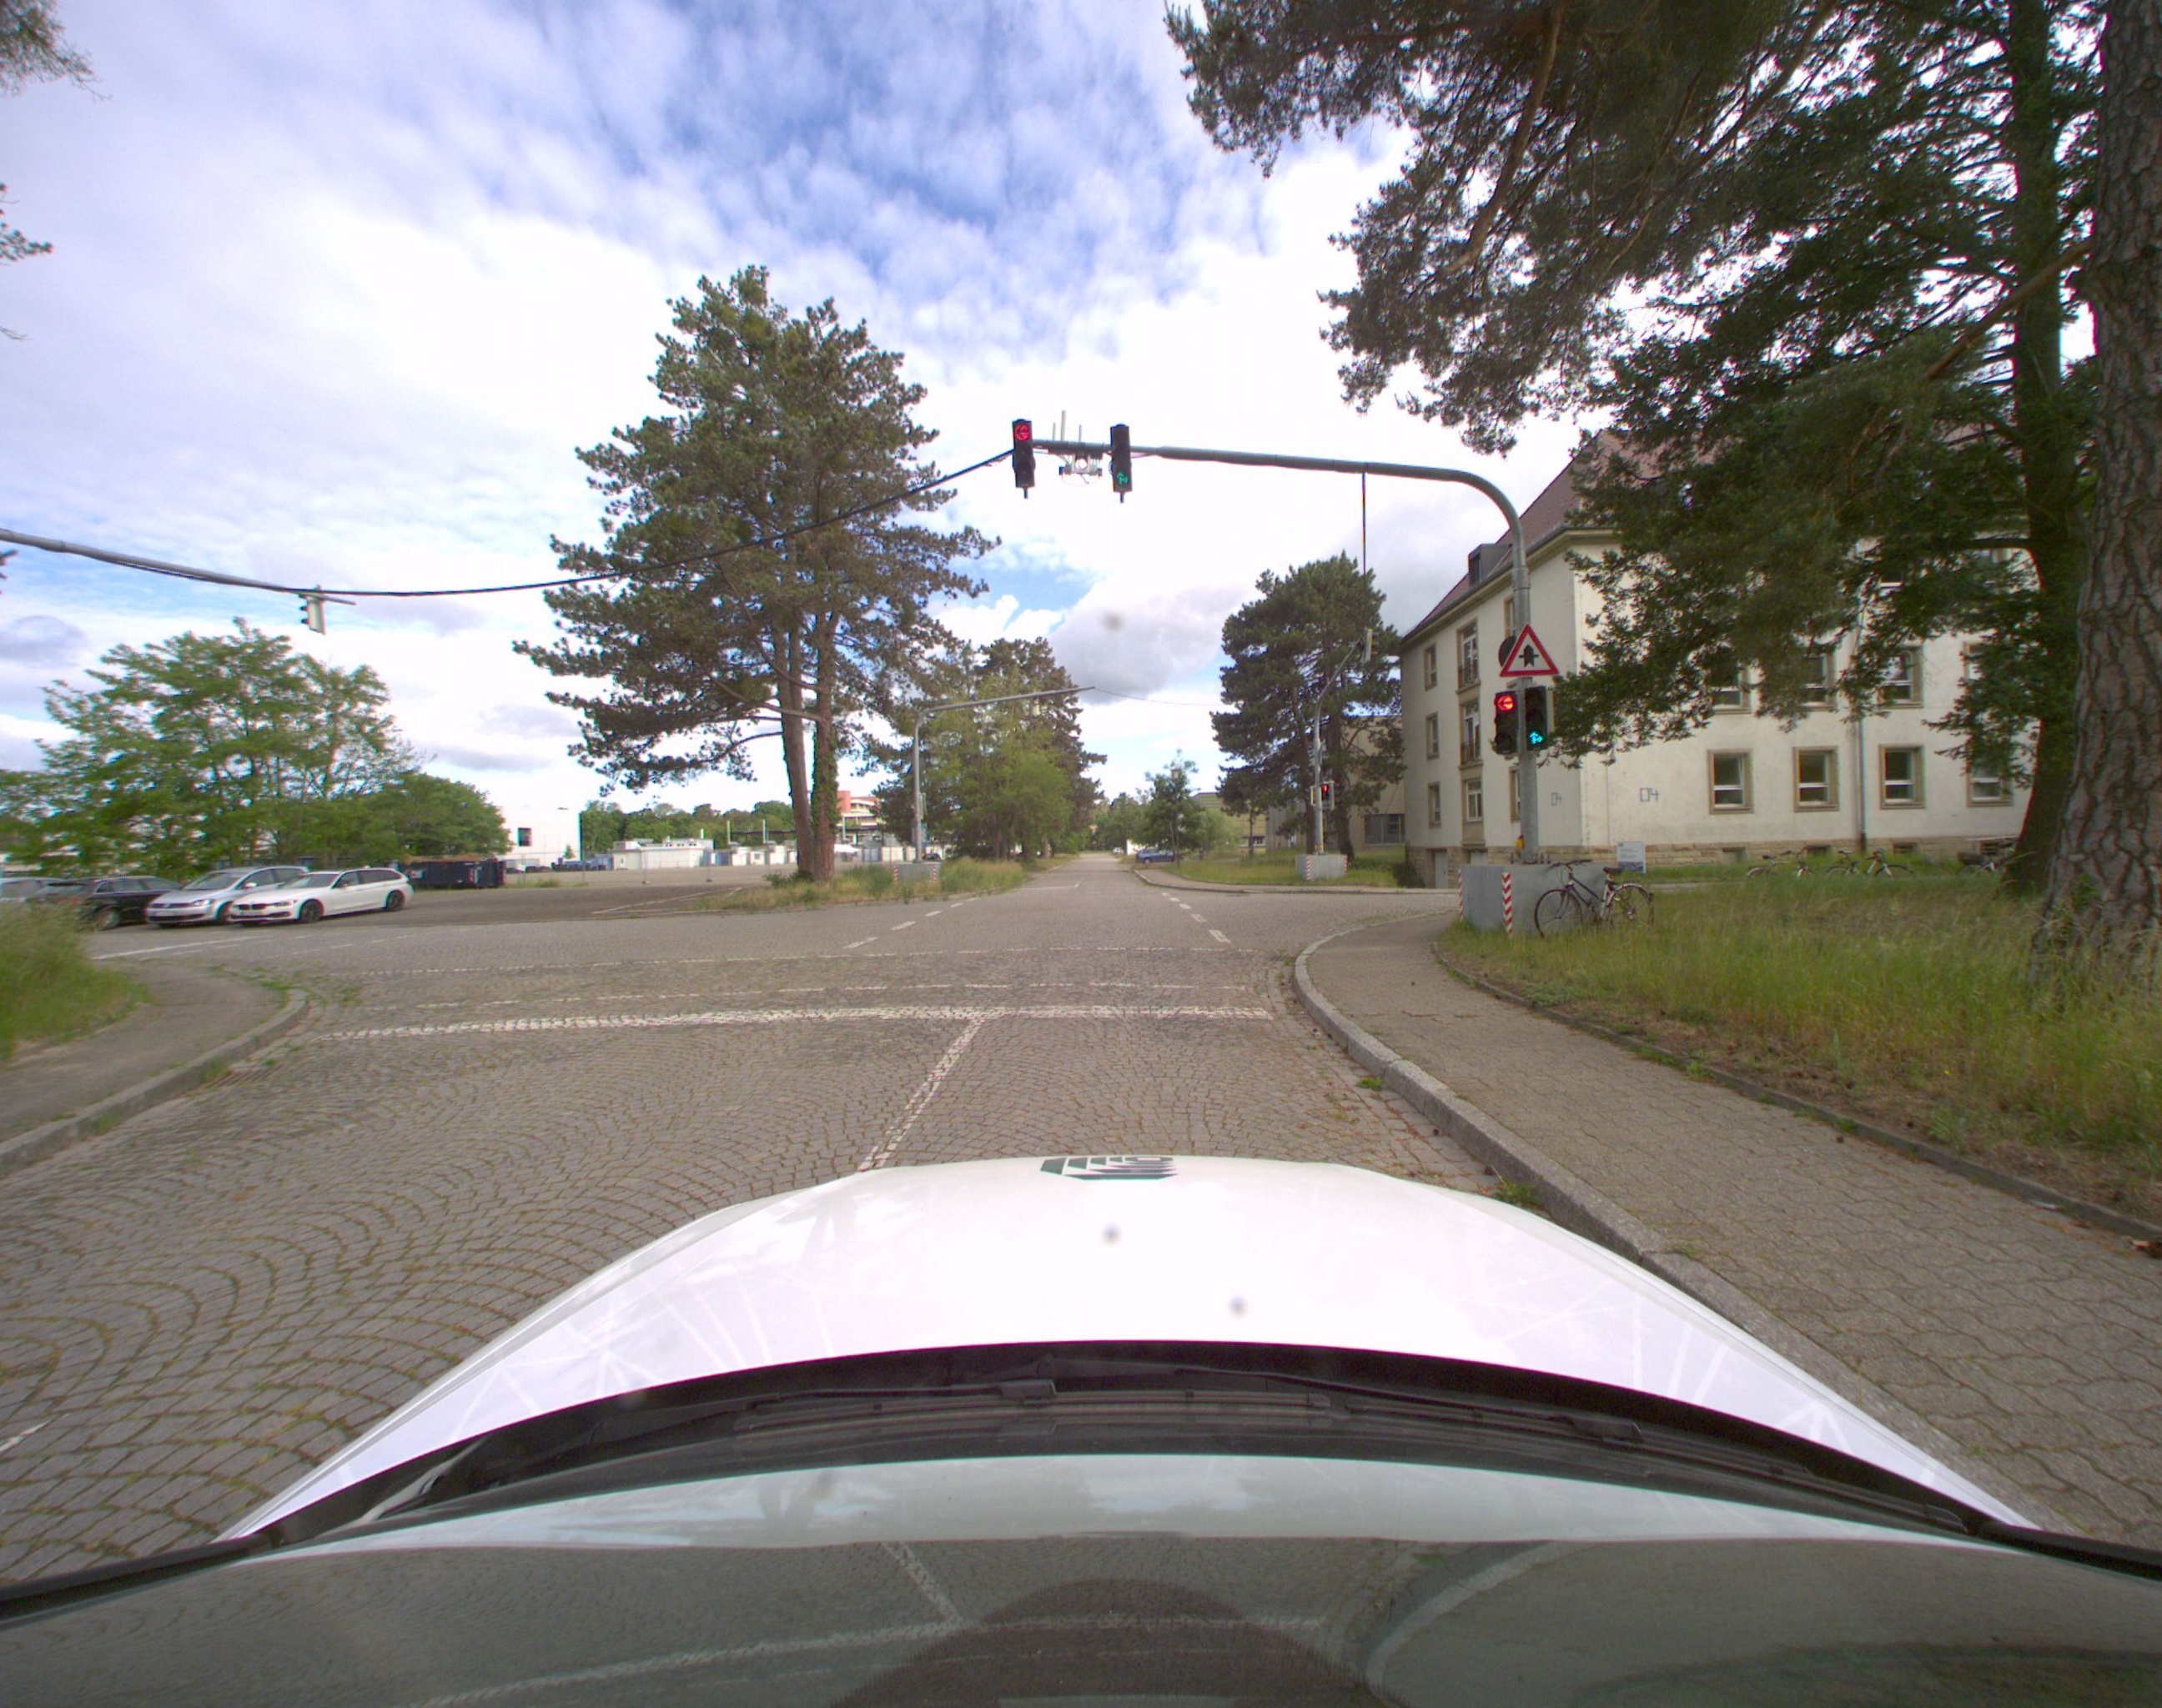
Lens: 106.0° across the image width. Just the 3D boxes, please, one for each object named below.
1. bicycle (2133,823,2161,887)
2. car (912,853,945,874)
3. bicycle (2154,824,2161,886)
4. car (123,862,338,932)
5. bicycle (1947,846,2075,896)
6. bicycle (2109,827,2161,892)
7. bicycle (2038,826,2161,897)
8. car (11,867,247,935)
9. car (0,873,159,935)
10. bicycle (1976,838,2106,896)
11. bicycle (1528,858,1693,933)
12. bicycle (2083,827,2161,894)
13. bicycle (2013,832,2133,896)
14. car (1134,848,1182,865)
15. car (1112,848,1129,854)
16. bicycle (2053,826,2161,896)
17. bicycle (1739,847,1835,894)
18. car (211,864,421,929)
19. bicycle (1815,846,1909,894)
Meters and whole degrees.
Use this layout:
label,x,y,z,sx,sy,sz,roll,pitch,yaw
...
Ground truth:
label,x,y,z,sx,sy,sz,roll,pitch,yaw
bicycle,22.532,0.028,16.348,0.552,1.320,1.856,-1,0,7
car,-11.476,0.673,61.621,1.607,1.487,4.001,-1,0,1
bicycle,23.142,0.019,16.442,0.550,1.320,1.942,-1,0,7
car,-25.048,1.184,24.270,1.817,1.584,4.324,-2,3,-2
bicycle,18.674,0.313,16.420,0.538,0.949,1.905,-1,0,6
bicycle,22.005,0.109,16.384,0.389,1.320,1.922,-1,0,7
bicycle,20.398,0.125,16.218,0.435,1.320,2.051,-1,0,7
car,-27.809,1.293,24.070,1.850,1.501,4.324,-2,3,-2
car,-30.481,1.449,23.954,1.788,1.566,4.323,-2,0,-2
bicycle,19.325,0.237,16.463,0.538,1.101,1.906,-1,0,7
bicycle,6.667,0.514,10.299,1.693,0.874,0.573,-2,0,1
bicycle,21.557,0.115,16.418,0.503,1.320,1.923,-1,0,7
bicycle,19.899,0.188,16.384,0.538,1.215,1.642,-1,0,7
car,7.198,0.203,76.265,4.331,1.422,1.999,-2,0,-1
car,9.390,-0.676,193.359,3.980,1.398,1.997,-2,0,-5
bicycle,20.969,0.119,16.404,0.573,1.320,1.979,-1,0,7
bicycle,15.415,0.355,17.799,1.615,0.980,0.530,-1,0,0
car,-22.554,1.178,24.342,1.805,1.441,4.739,-2,2,-1
bicycle,17.171,0.350,17.913,1.531,1.014,0.543,-1,0,0
